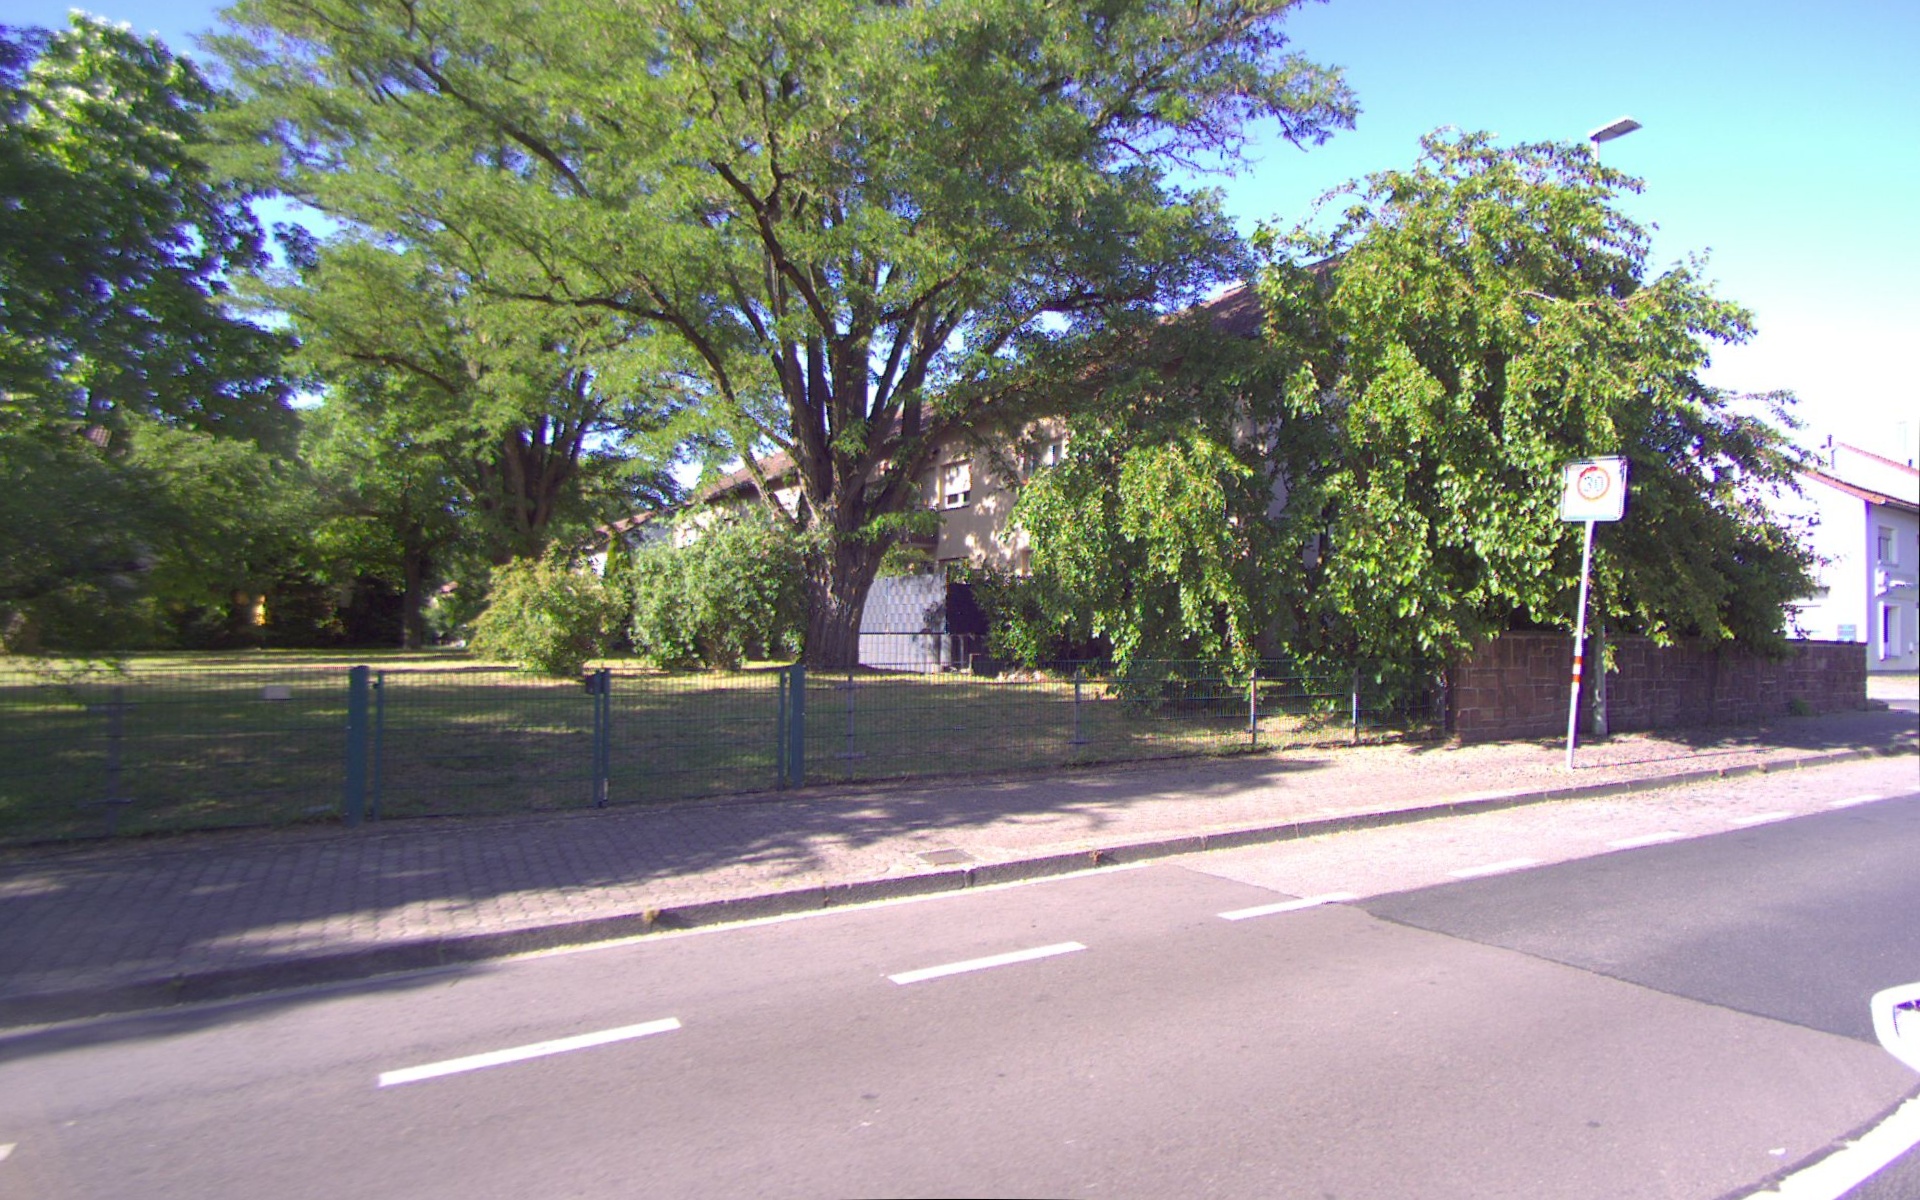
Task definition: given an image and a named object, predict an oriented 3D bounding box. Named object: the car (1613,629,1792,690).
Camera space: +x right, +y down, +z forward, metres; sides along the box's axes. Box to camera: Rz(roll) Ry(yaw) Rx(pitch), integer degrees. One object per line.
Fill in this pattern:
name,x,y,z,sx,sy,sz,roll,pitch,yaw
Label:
car,25.095,1.953,34.107,1.978,1.862,4.464,-2,-1,-32
